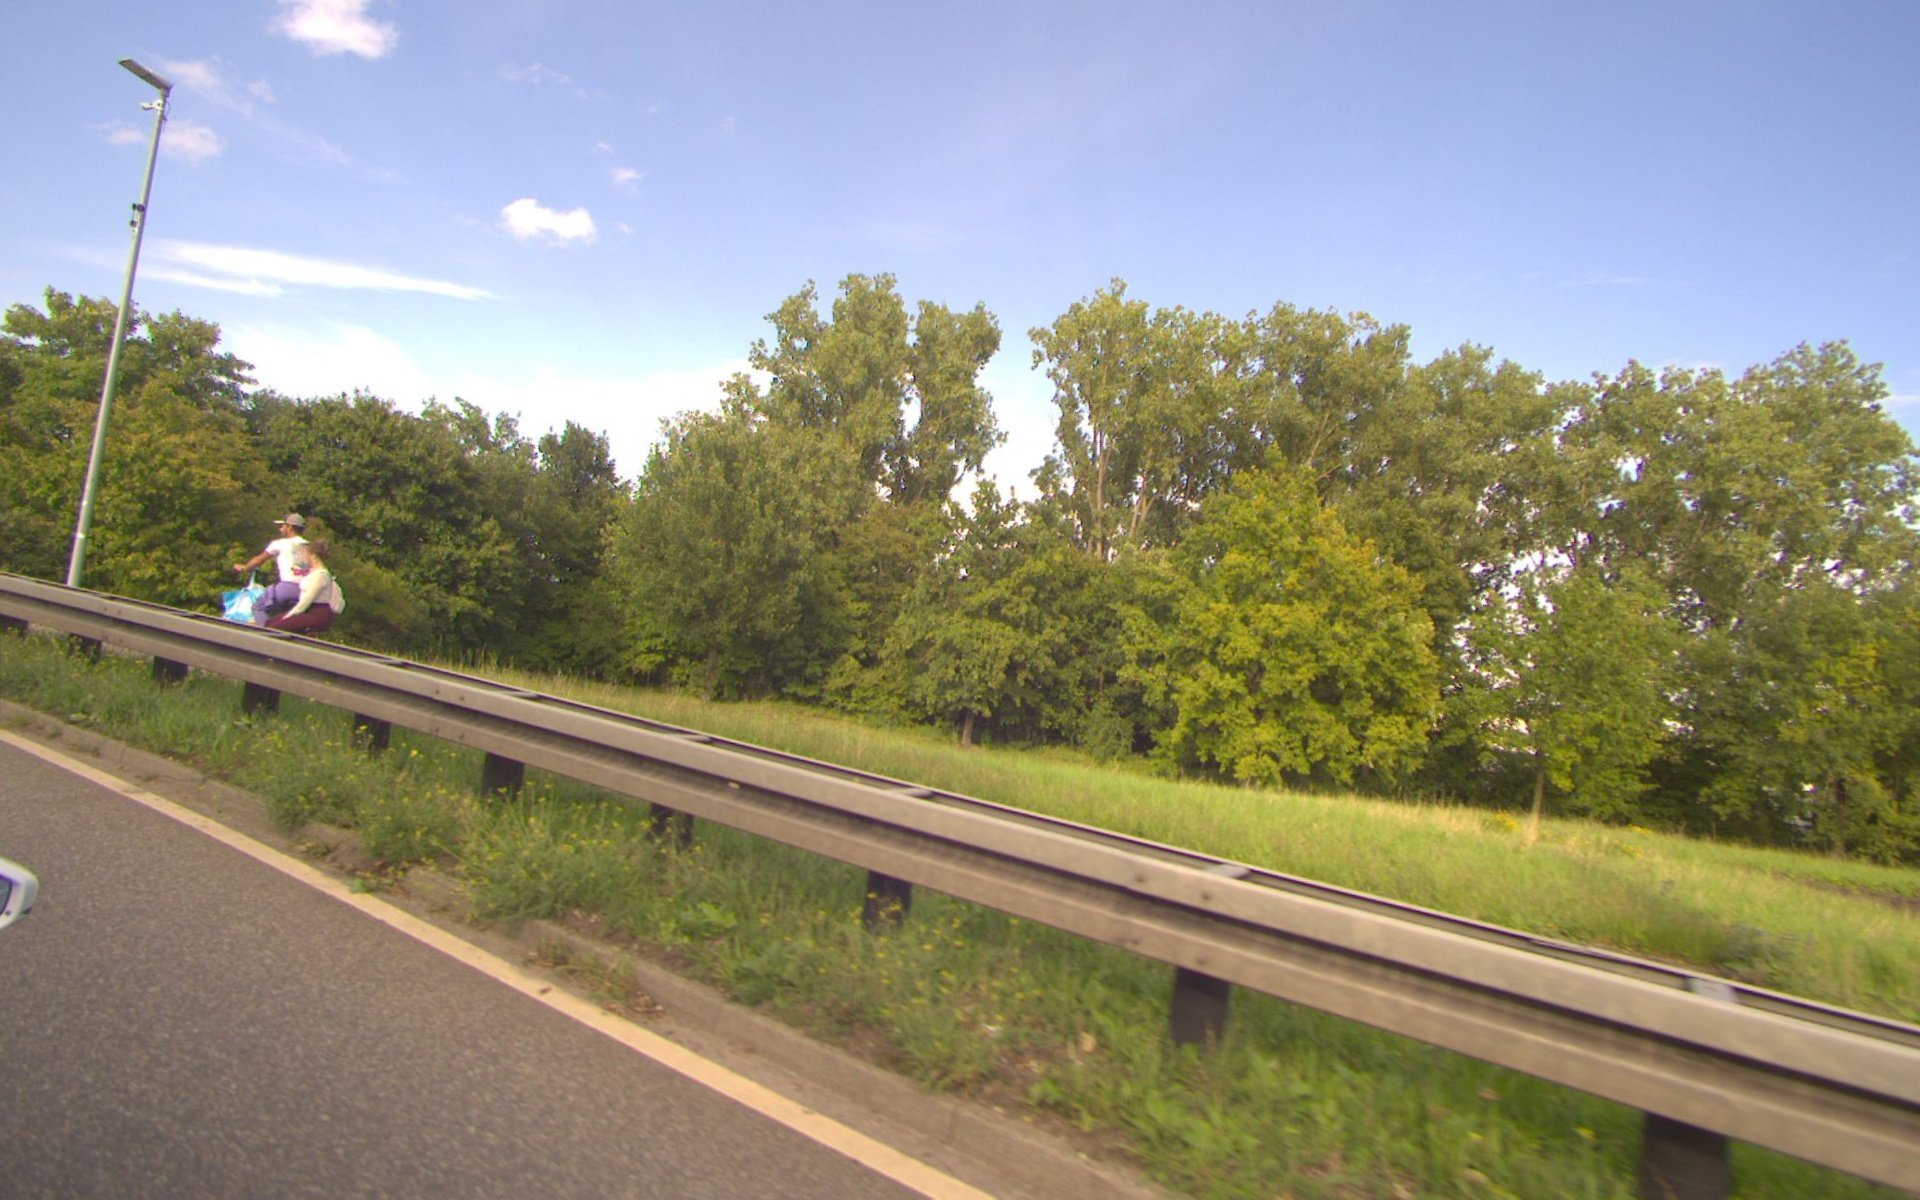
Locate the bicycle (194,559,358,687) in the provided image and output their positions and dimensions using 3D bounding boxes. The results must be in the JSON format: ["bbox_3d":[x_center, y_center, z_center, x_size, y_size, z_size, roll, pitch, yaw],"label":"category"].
[{"bbox_3d":[-7.176,0.233,10.539,1.667,1.134,0.597,7,-1,27],"label":"bicycle"}]

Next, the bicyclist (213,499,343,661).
[{"bbox_3d":[-7.128,-0.197,10.530,0.740,1.575,0.709,7,-1,27],"label":"bicyclist"}]

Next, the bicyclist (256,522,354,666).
[{"bbox_3d":[-6.673,-0.055,10.254,0.529,1.388,0.501,7,0,27],"label":"bicyclist"}]
